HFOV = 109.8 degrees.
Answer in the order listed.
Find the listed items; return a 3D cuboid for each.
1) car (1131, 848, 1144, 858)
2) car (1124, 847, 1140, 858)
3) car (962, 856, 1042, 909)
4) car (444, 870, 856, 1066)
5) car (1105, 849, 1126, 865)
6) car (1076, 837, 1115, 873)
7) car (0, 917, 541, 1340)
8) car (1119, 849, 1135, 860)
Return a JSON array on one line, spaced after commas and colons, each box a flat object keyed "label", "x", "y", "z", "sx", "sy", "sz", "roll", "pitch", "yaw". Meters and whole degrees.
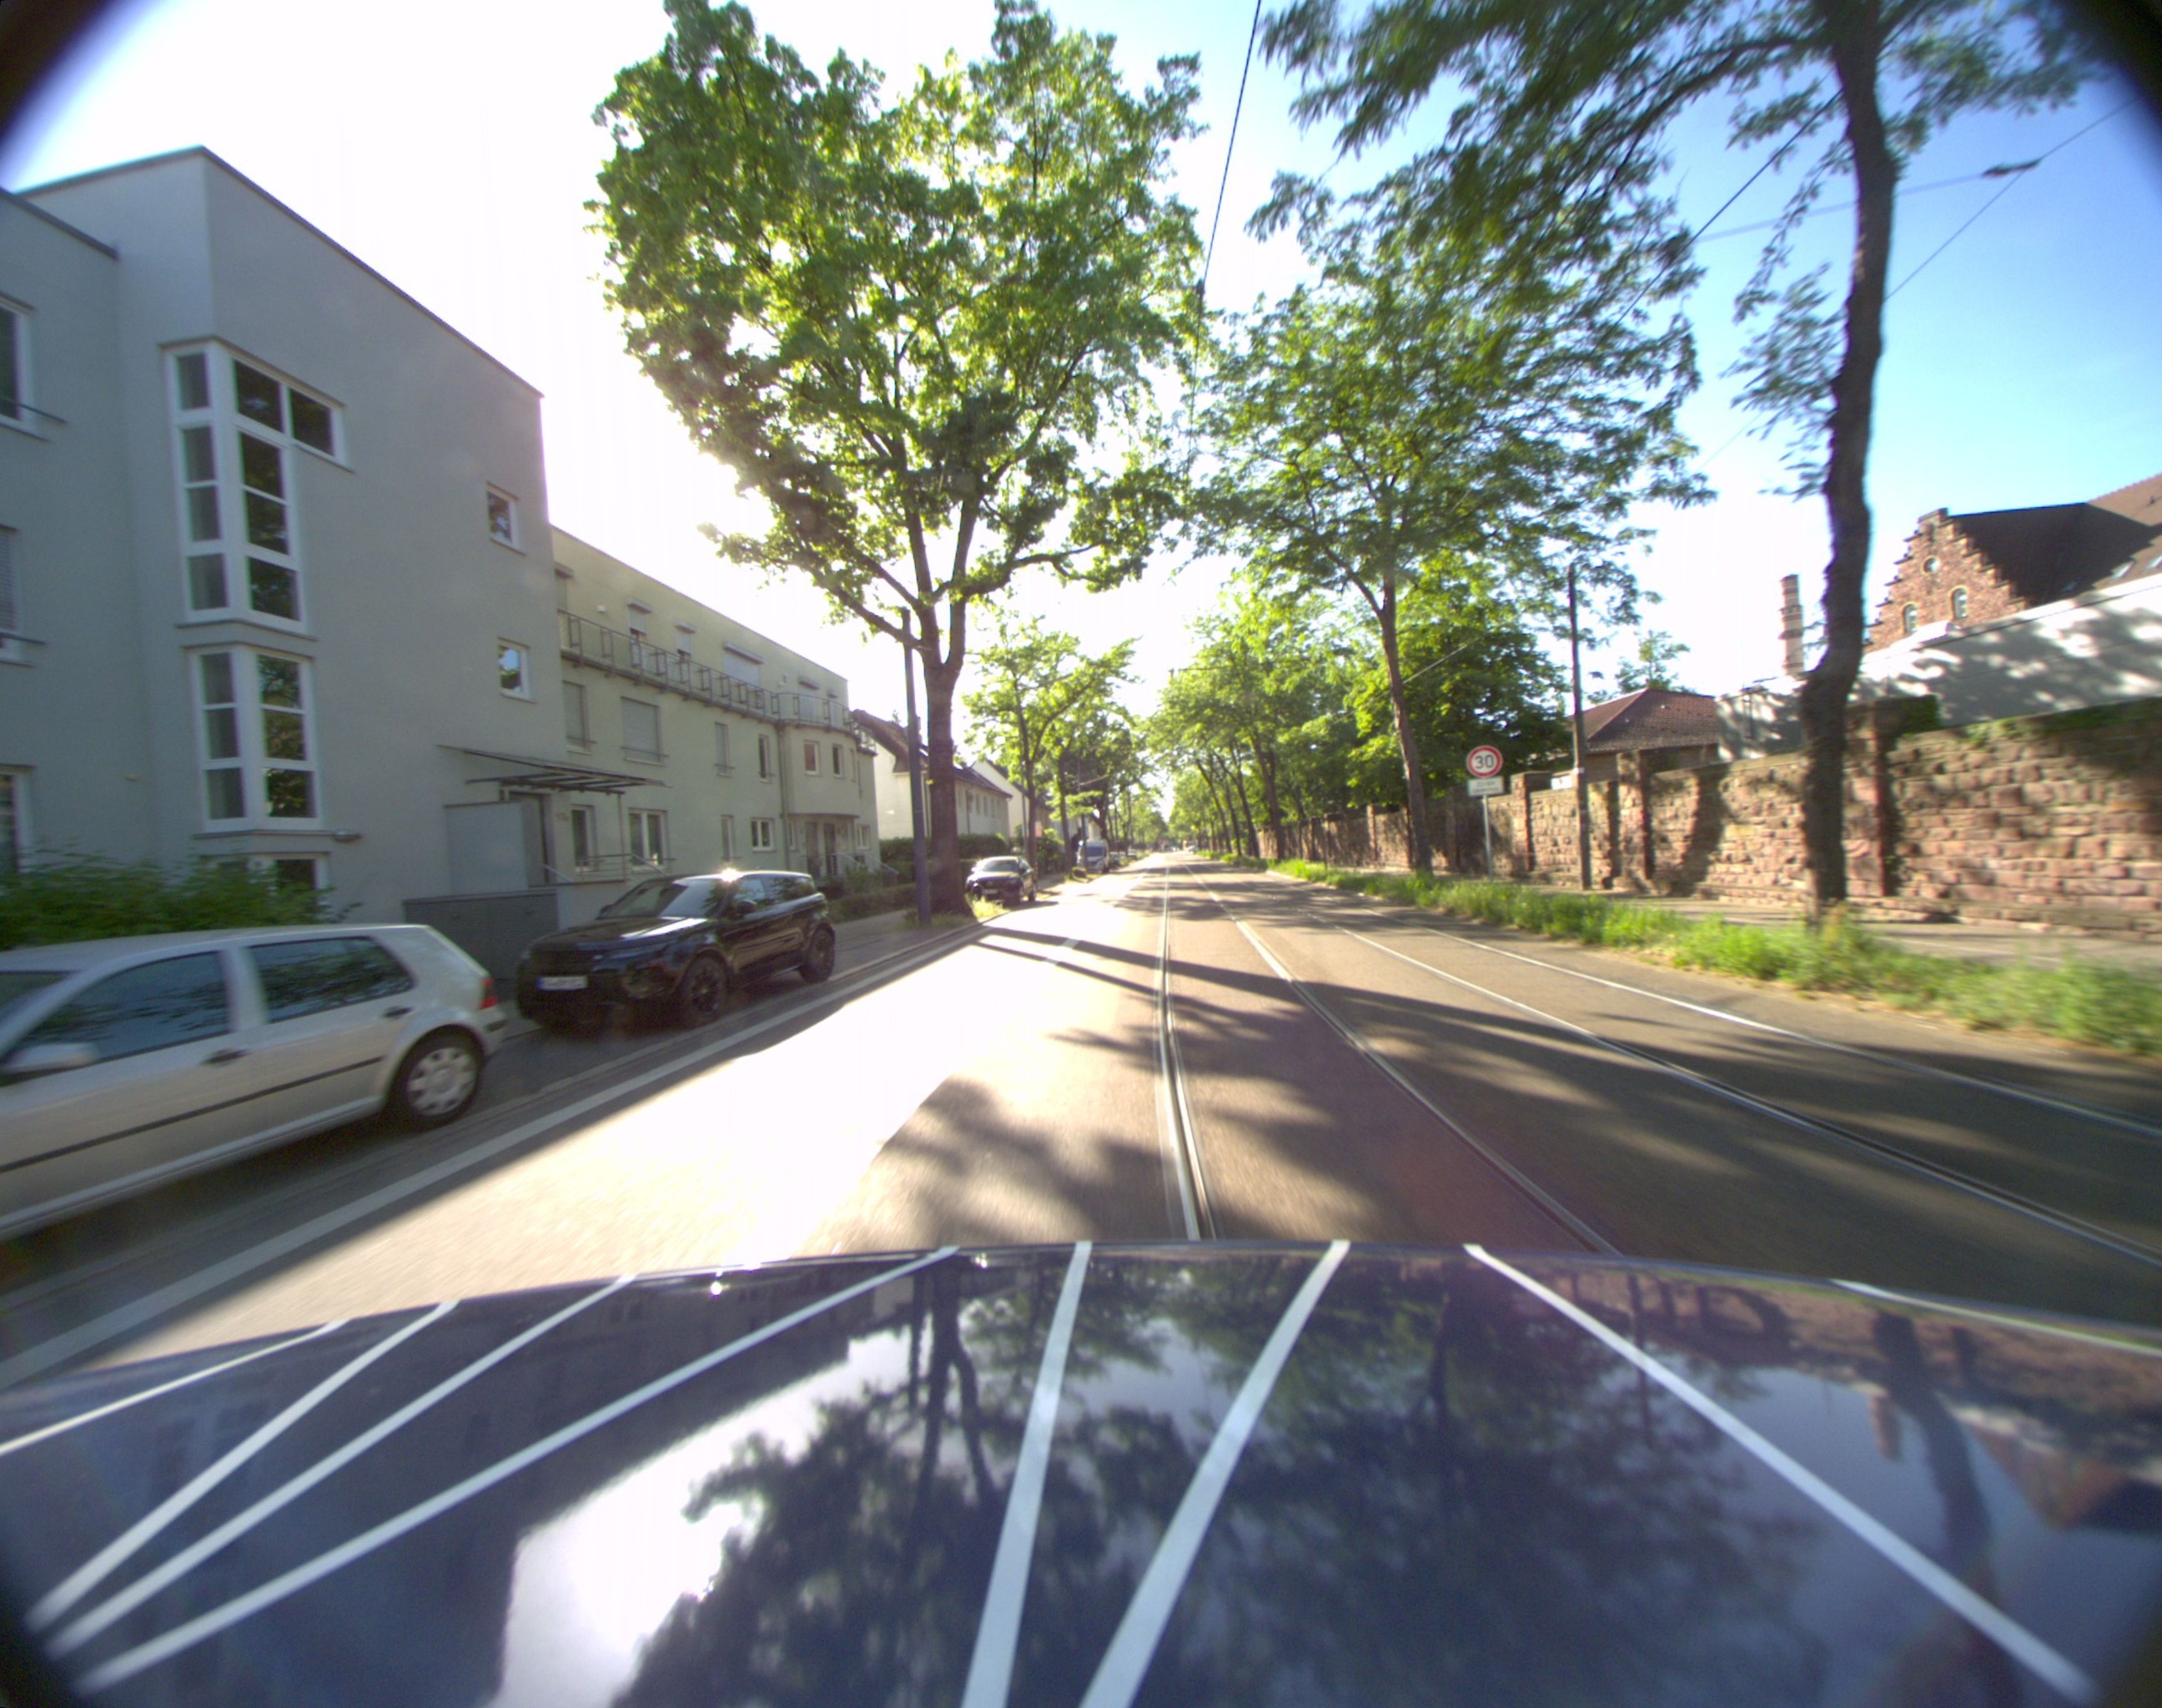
[{"label": "car", "x": 9.319, "y": -0.149, "z": 125.250, "sx": 1.997, "sy": 1.411, "sz": 4.000, "roll": -3, "pitch": 3, "yaw": 7}, {"label": "car", "x": 7.619, "y": -0.180, "z": 113.389, "sx": 1.997, "sy": 1.474, "sz": 4.002, "roll": -3, "pitch": 0, "yaw": 7}, {"label": "car", "x": -2.678, "y": 0.924, "z": 26.782, "sx": 1.880, "sy": 1.509, "sz": 4.650, "roll": -4, "pitch": 1, "yaw": 5}, {"label": "car", "x": -4.765, "y": 1.144, "z": 9.442, "sx": 1.997, "sy": 1.607, "sz": 4.602, "roll": -2, "pitch": 1, "yaw": 7}, {"label": "car", "x": 3.670, "y": 0.280, "z": 80.106, "sx": 1.662, "sy": 1.527, "sz": 4.003, "roll": -3, "pitch": 0, "yaw": 11}, {"label": "car", "x": 1.163, "y": 0.014, "z": 58.890, "sx": 2.296, "sy": 2.575, "sz": 5.720, "roll": -4, "pitch": 1, "yaw": 7}, {"label": "car", "x": -5.358, "y": 1.327, "z": 3.724, "sx": 1.741, "sy": 1.487, "sz": 4.531, "roll": -4, "pitch": 1, "yaw": 6}, {"label": "car", "x": 6.299, "y": 0.092, "z": 104.069, "sx": 1.787, "sy": 1.369, "sz": 3.656, "roll": -4, "pitch": 1, "yaw": 7}]
